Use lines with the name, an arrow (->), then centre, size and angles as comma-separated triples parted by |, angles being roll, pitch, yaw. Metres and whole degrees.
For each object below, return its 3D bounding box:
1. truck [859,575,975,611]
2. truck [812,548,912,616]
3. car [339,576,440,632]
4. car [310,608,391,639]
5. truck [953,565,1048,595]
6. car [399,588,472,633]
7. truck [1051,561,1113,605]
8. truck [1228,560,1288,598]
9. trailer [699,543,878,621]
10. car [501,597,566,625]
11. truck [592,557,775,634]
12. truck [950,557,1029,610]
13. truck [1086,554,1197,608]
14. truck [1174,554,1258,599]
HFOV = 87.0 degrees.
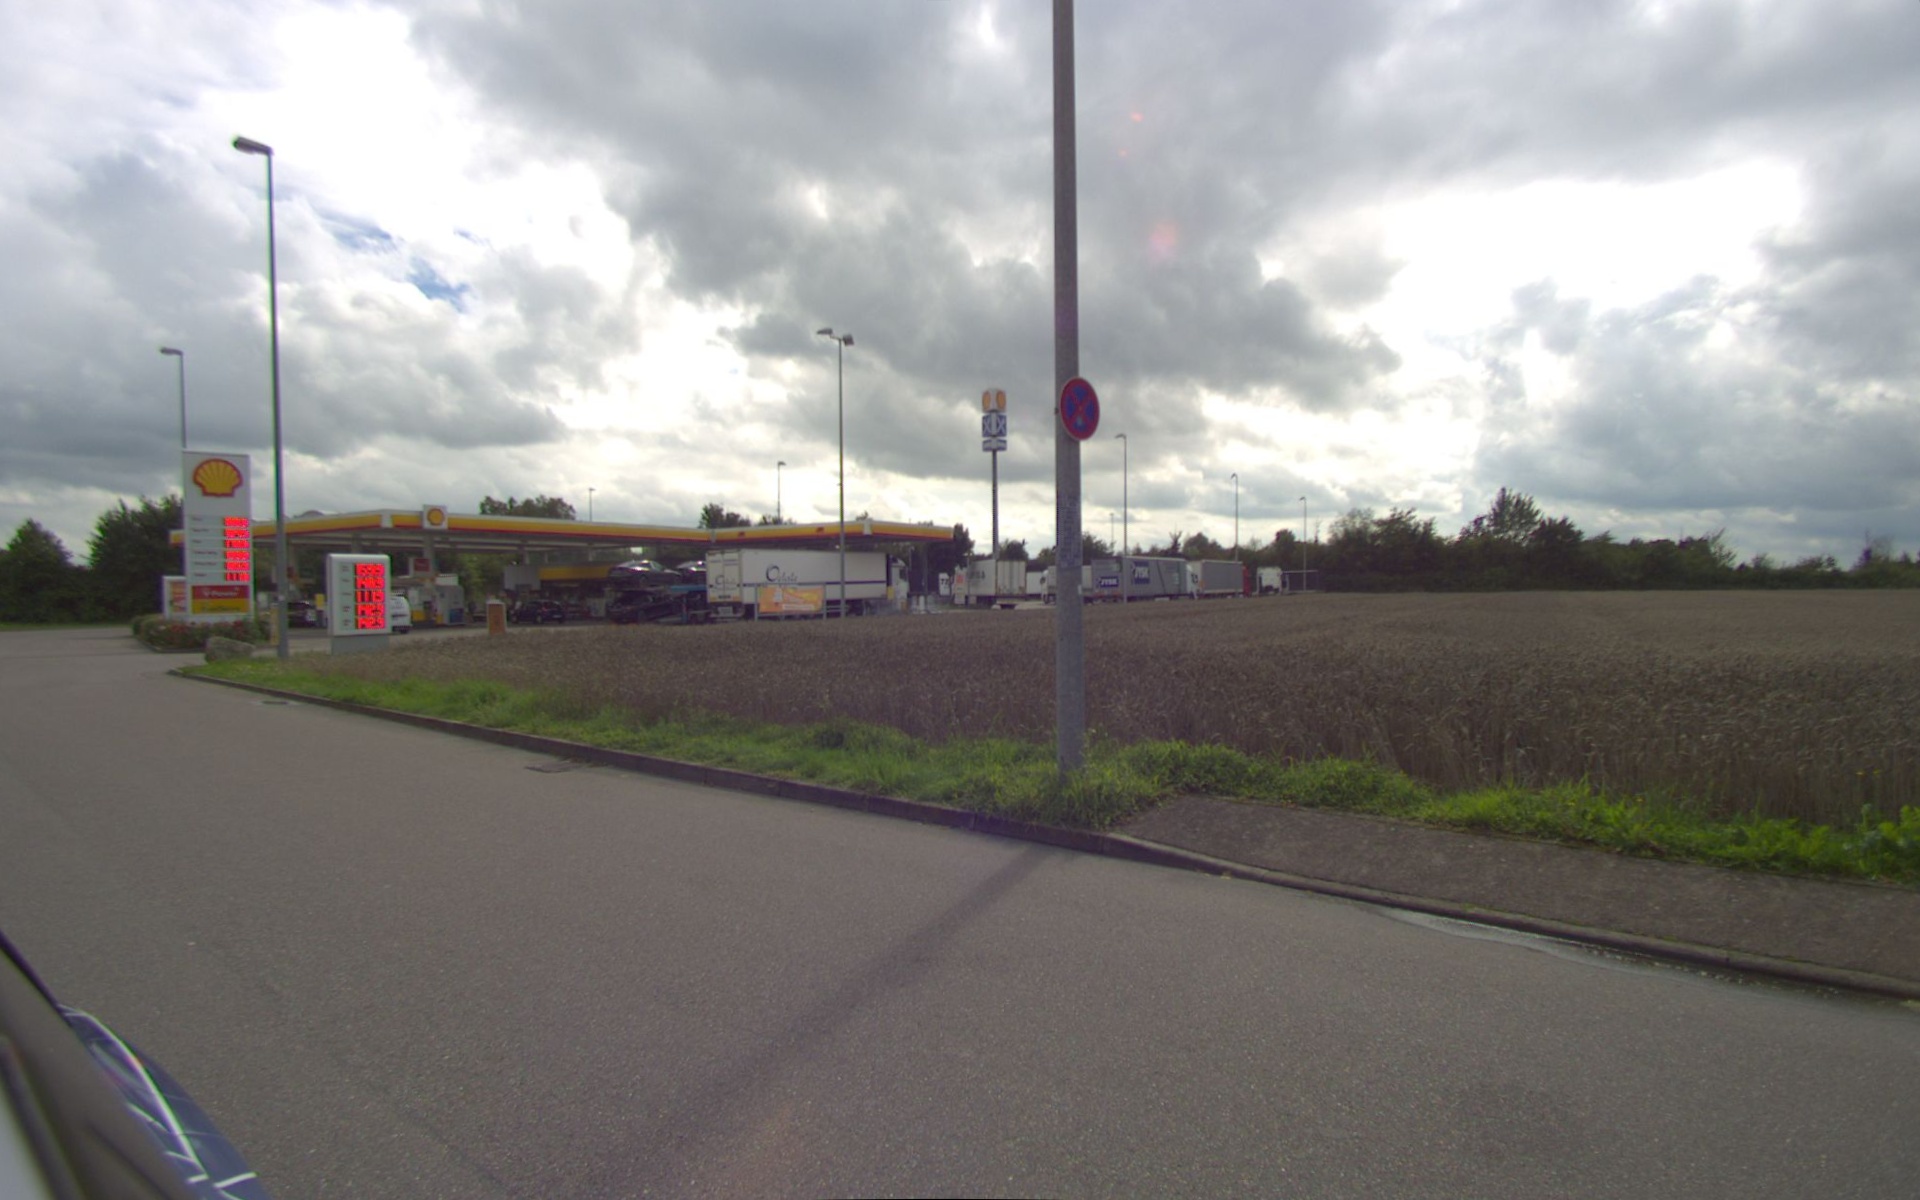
truck -> -4.903, -0.811, 114.781 | 12.797, 3.922, 2.832 | -1, 1, -13
truck -> -6.209, -1.141, 65.171 | 2.703, 4.055, 7.094 | -1, 0, 31
car -> -30.678, 0.171, 54.642 | 2.193, 2.808, 5.809 | -1, 0, -1
car -> -33.899, 1.264, 56.419 | 1.974, 1.571, 3.956 | -2, 0, 4
truck -> 5.545, -2.777, 138.078 | 12.594, 3.922, 2.832 | -1, 1, -14
car -> -25.101, 0.494, 48.591 | 1.769, 2.027, 3.886 | -2, 0, -5
truck -> 12.333, -1.650, 103.462 | 2.946, 4.141, 11.599 | -2, 0, -10
truck -> 32.938, -2.323, 111.448 | 2.816, 3.922, 12.664 | 0, 1, 33
trailer -> -9.619, -1.022, 59.359 | 2.703, 4.055, 12.713 | -1, 0, 31
car -> -26.396, 0.687, 62.651 | 3.743, 1.613, 1.701 | -1, 0, 28
truck -> -15.593, -0.339, 58.921 | 2.735, 3.953, 13.155 | 0, 1, 23
truck -> 2.316, -1.415, 87.699 | 2.914, 4.143, 14.789 | -1, 1, -14
truck -> 14.611, -1.500, 79.893 | 2.816, 3.922, 15.286 | 0, 1, 33
truck -> 24.525, -2.189, 95.999 | 2.816, 3.922, 15.286 | 0, 1, 33
